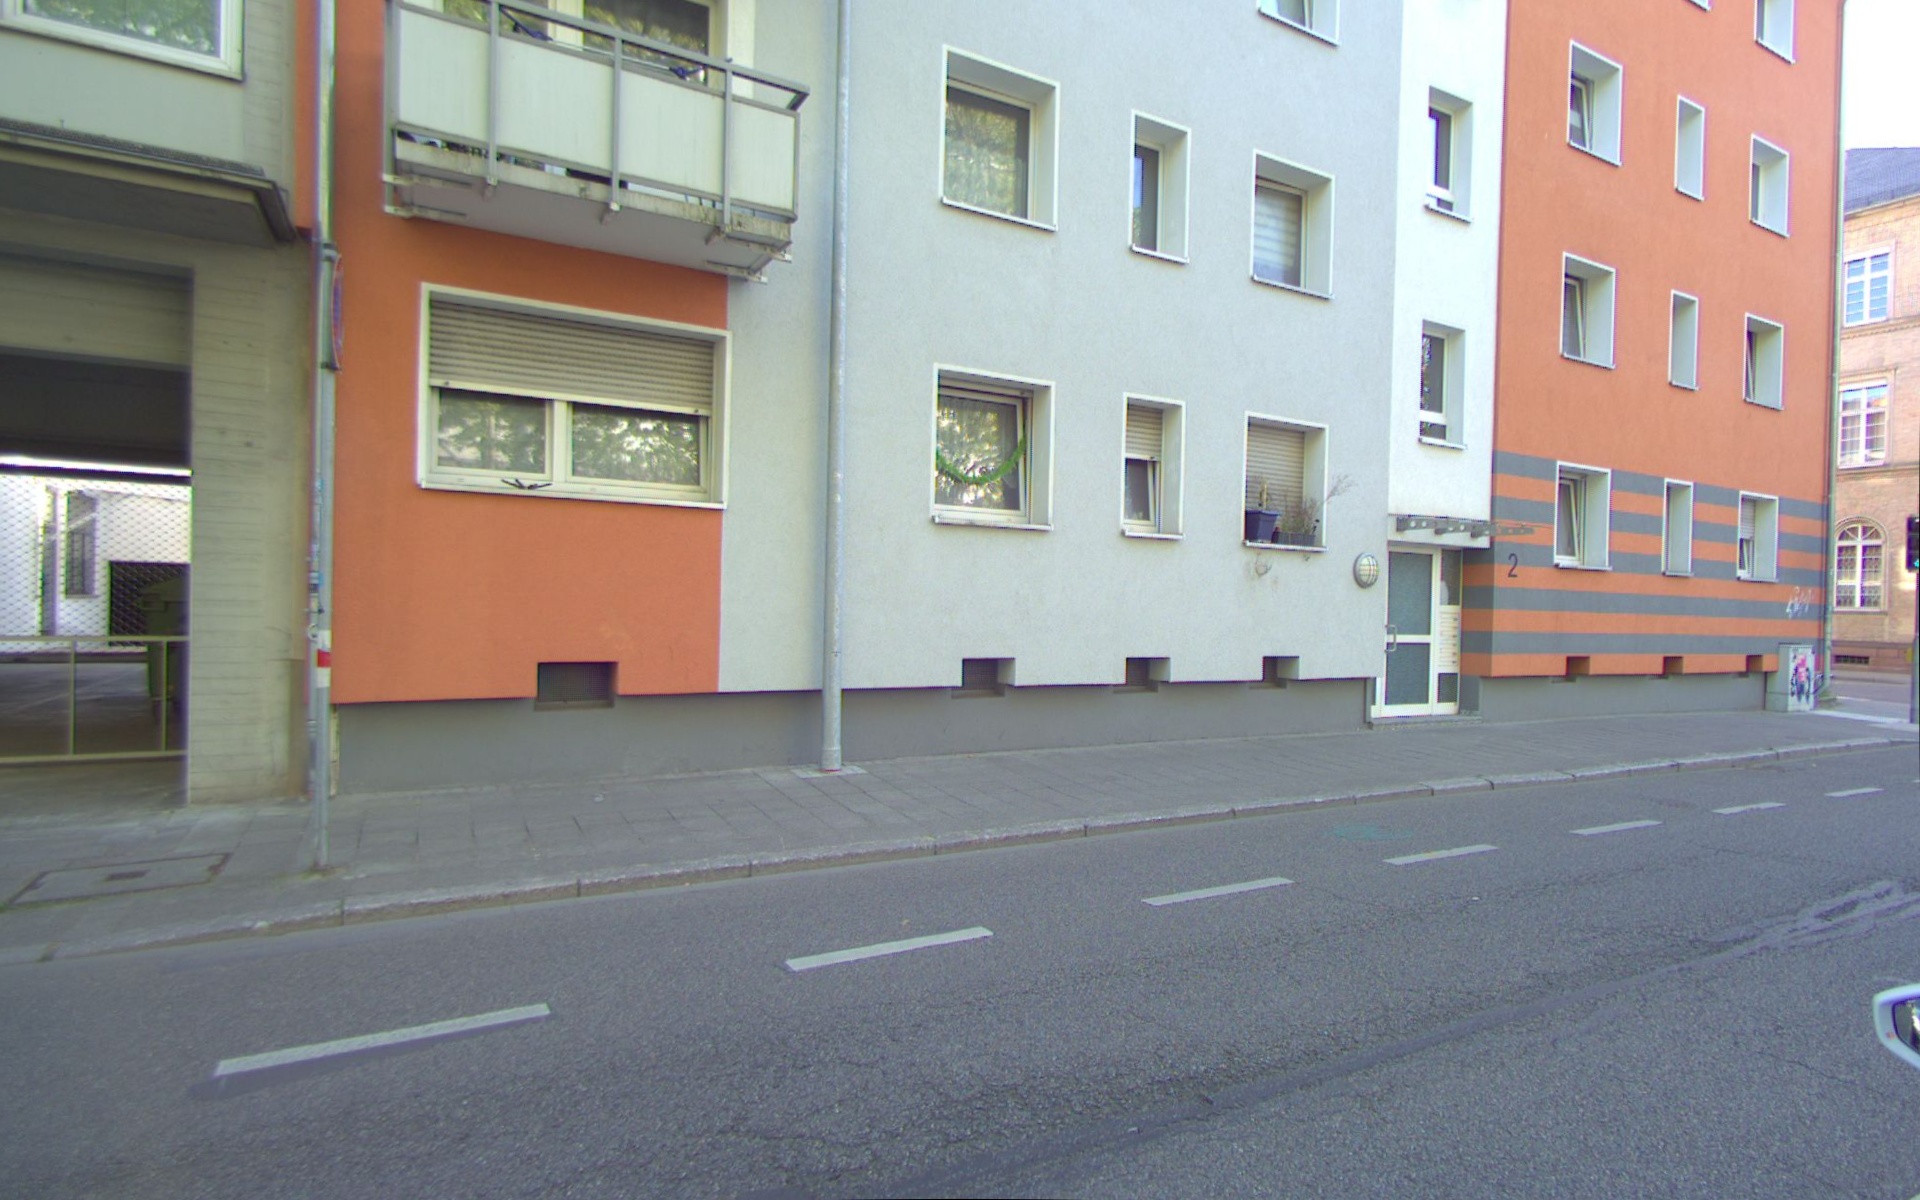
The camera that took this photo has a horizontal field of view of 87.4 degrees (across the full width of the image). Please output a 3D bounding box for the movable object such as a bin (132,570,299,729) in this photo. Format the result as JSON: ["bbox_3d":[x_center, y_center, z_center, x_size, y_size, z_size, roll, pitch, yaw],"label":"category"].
[{"bbox_3d":[-7.493,0.464,10.198,1.128,1.484,1.255,2,1,-27],"label":"movable object such as a bin"}]

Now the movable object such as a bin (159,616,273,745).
[{"bbox_3d":[-6.519,0.686,8.829,0.694,1.061,0.567,2,1,-27],"label":"movable object such as a bin"}]
